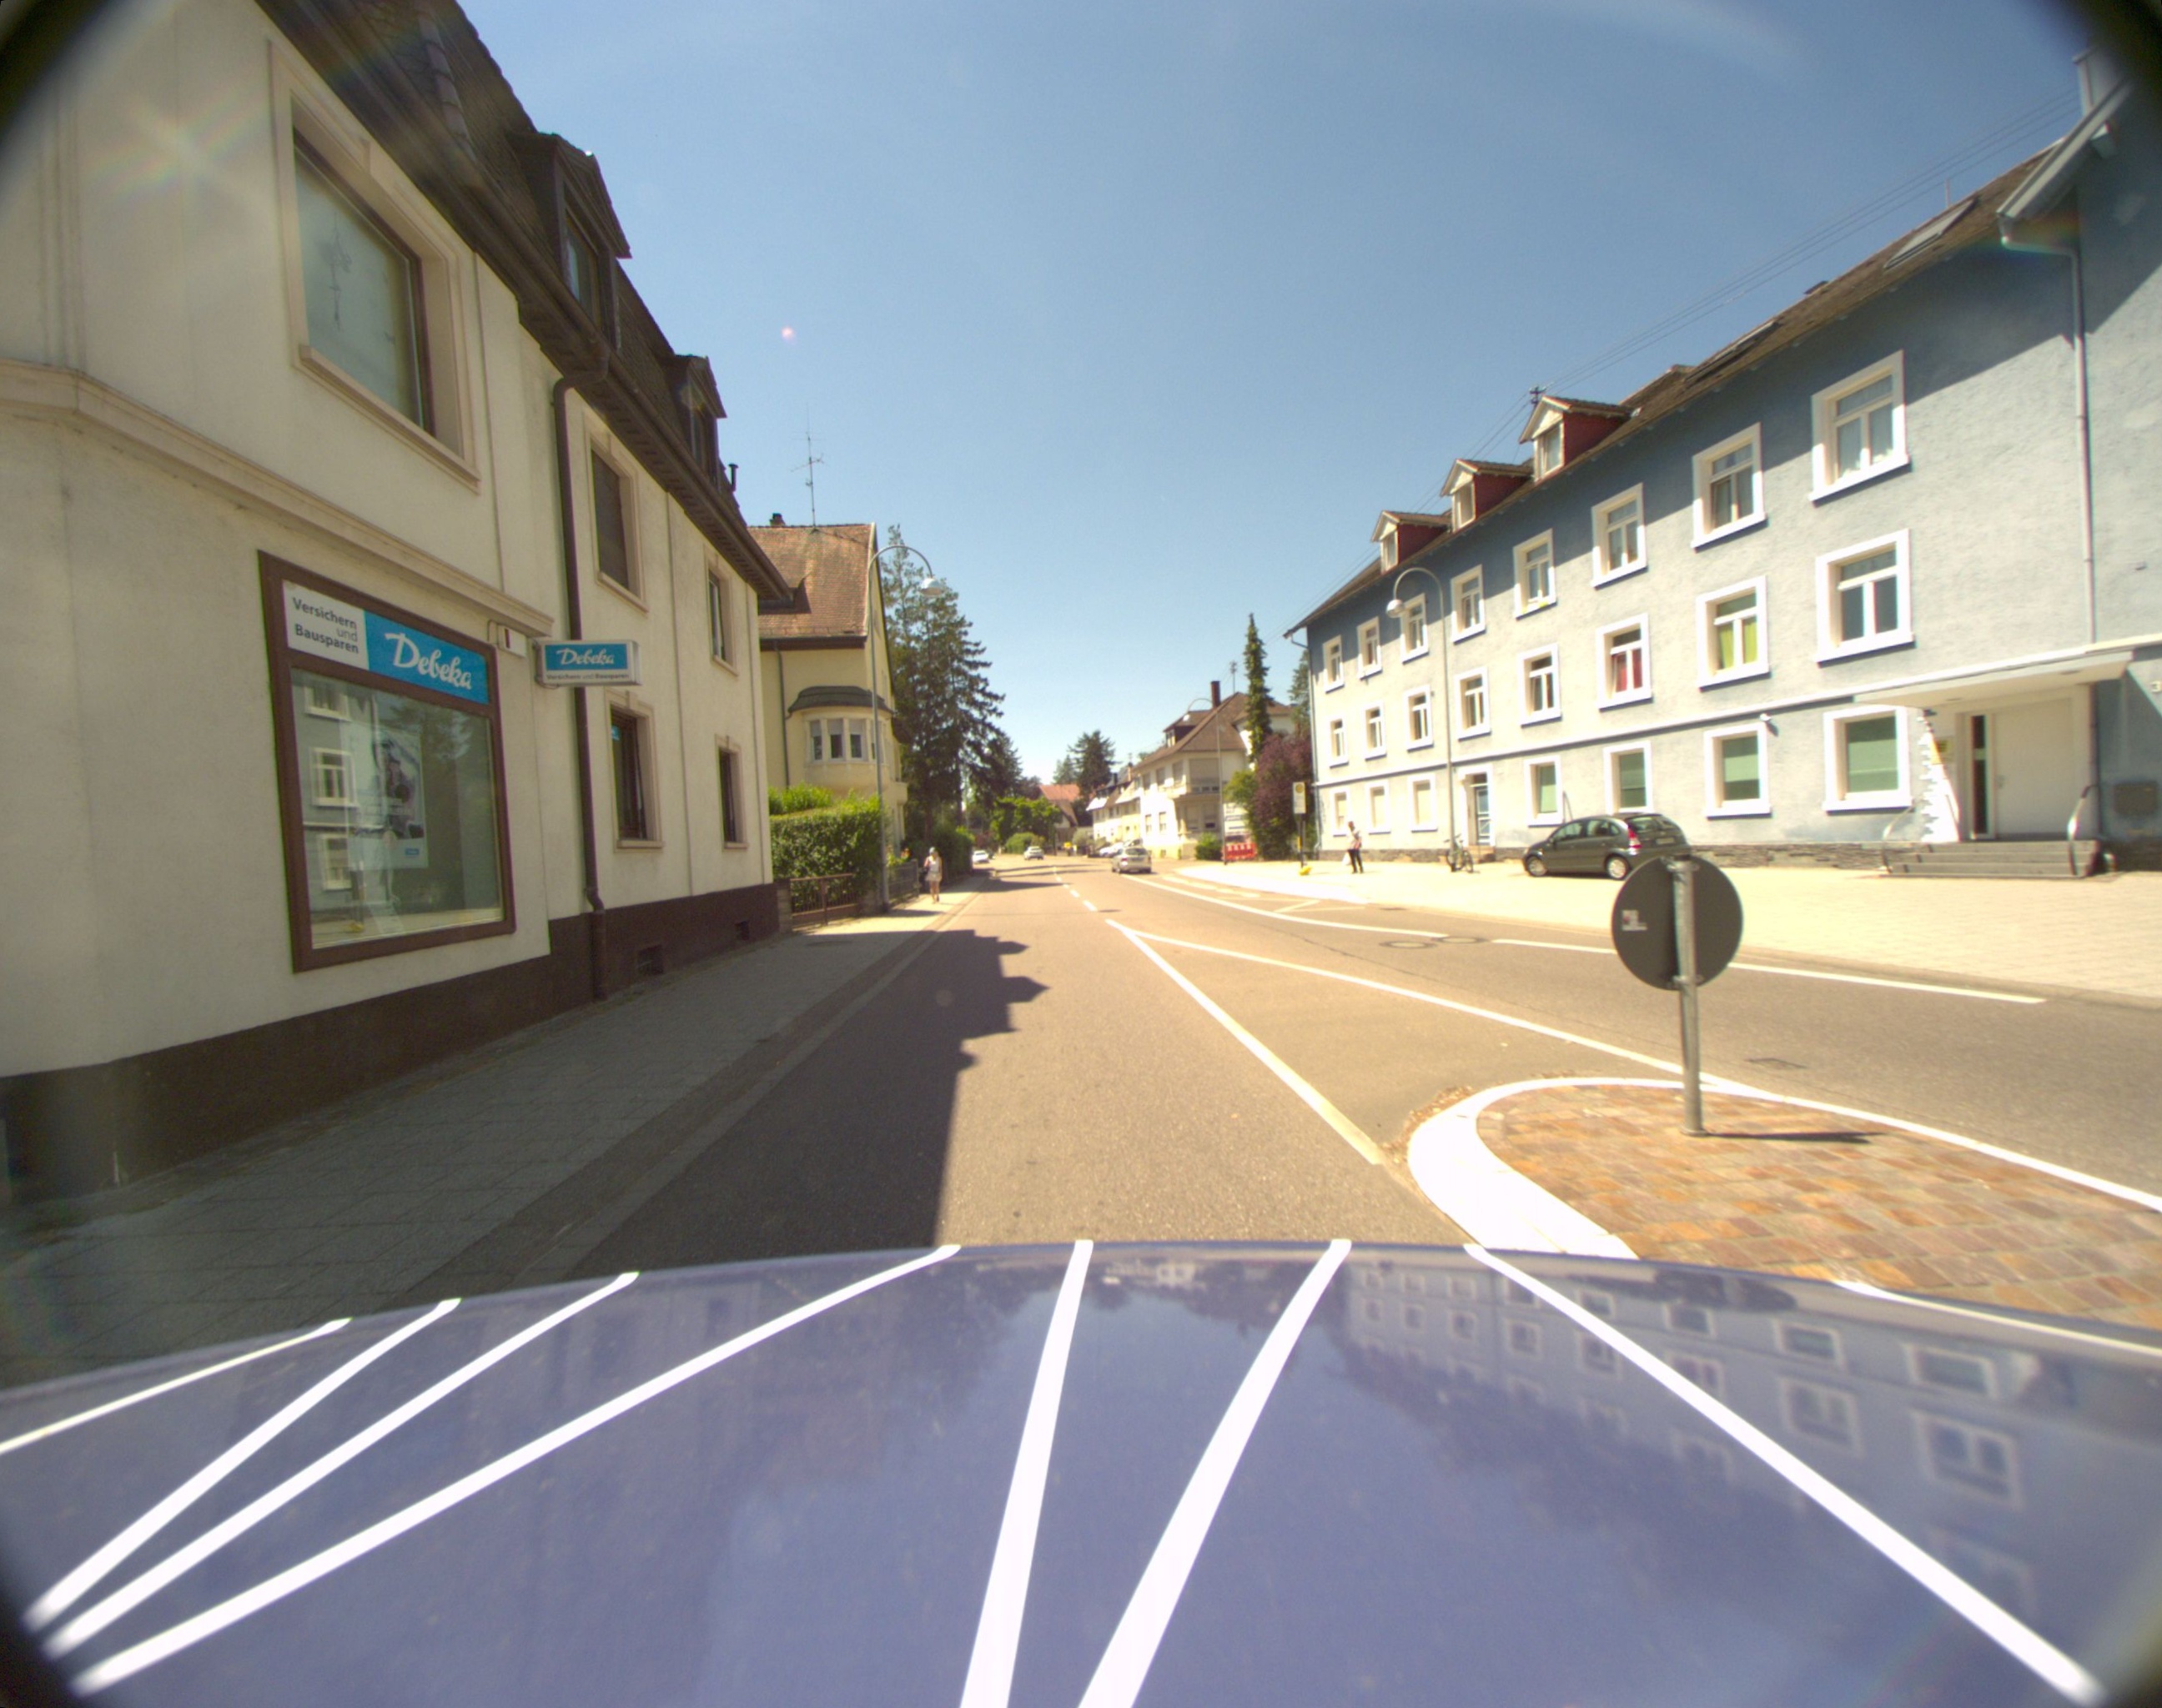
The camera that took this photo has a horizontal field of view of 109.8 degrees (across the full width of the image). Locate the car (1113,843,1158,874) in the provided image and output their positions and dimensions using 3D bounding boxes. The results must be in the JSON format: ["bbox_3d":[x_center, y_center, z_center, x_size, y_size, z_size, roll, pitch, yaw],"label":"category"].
[{"bbox_3d":[2.932,0.274,41.802,1.843,1.520,4.392,2,-2,-4],"label":"car"}]

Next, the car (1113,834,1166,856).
[{"bbox_3d":[5.242,-0.784,68.521,4.368,1.866,1.847,-2,1,-17],"label":"car"}]

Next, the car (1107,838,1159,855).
[{"bbox_3d":[4.852,-0.675,70.939,4.486,1.487,1.974,-2,1,-9],"label":"car"}]

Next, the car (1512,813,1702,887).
[{"bbox_3d":[12.579,-0.151,18.468,1.583,1.526,3.770,-4,3,-10],"label":"car"}]

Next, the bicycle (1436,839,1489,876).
[{"bbox_3d":[11.340,0.083,22.647,0.497,0.972,1.972,-7,2,0],"label":"bicycle"}]

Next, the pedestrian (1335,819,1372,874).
[{"bbox_3d":[9.465,-0.262,26.383,0.758,1.838,0.771,-7,2,-12],"label":"pedestrian"}]

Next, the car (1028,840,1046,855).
[{"bbox_3d":[-5.080,-0.751,87.931,1.826,1.522,3.946,-3,3,-6],"label":"car"}]

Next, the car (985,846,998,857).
[{"bbox_3d":[-12.748,-0.369,108.647,1.689,1.447,3.737,-5,1,-5],"label":"car"}]

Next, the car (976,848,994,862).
[{"bbox_3d":[-11.217,0.077,88.436,1.690,1.447,3.735,-5,1,-12],"label":"car"}]

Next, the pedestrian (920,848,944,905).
[{"bbox_3d":[-4.390,0.650,22.413,0.625,1.634,0.771,2,1,-8],"label":"pedestrian"}]

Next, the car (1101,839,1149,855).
[{"bbox_3d":[4.259,-0.682,73.962,4.265,1.487,1.879,-1,1,21],"label":"car"}]
